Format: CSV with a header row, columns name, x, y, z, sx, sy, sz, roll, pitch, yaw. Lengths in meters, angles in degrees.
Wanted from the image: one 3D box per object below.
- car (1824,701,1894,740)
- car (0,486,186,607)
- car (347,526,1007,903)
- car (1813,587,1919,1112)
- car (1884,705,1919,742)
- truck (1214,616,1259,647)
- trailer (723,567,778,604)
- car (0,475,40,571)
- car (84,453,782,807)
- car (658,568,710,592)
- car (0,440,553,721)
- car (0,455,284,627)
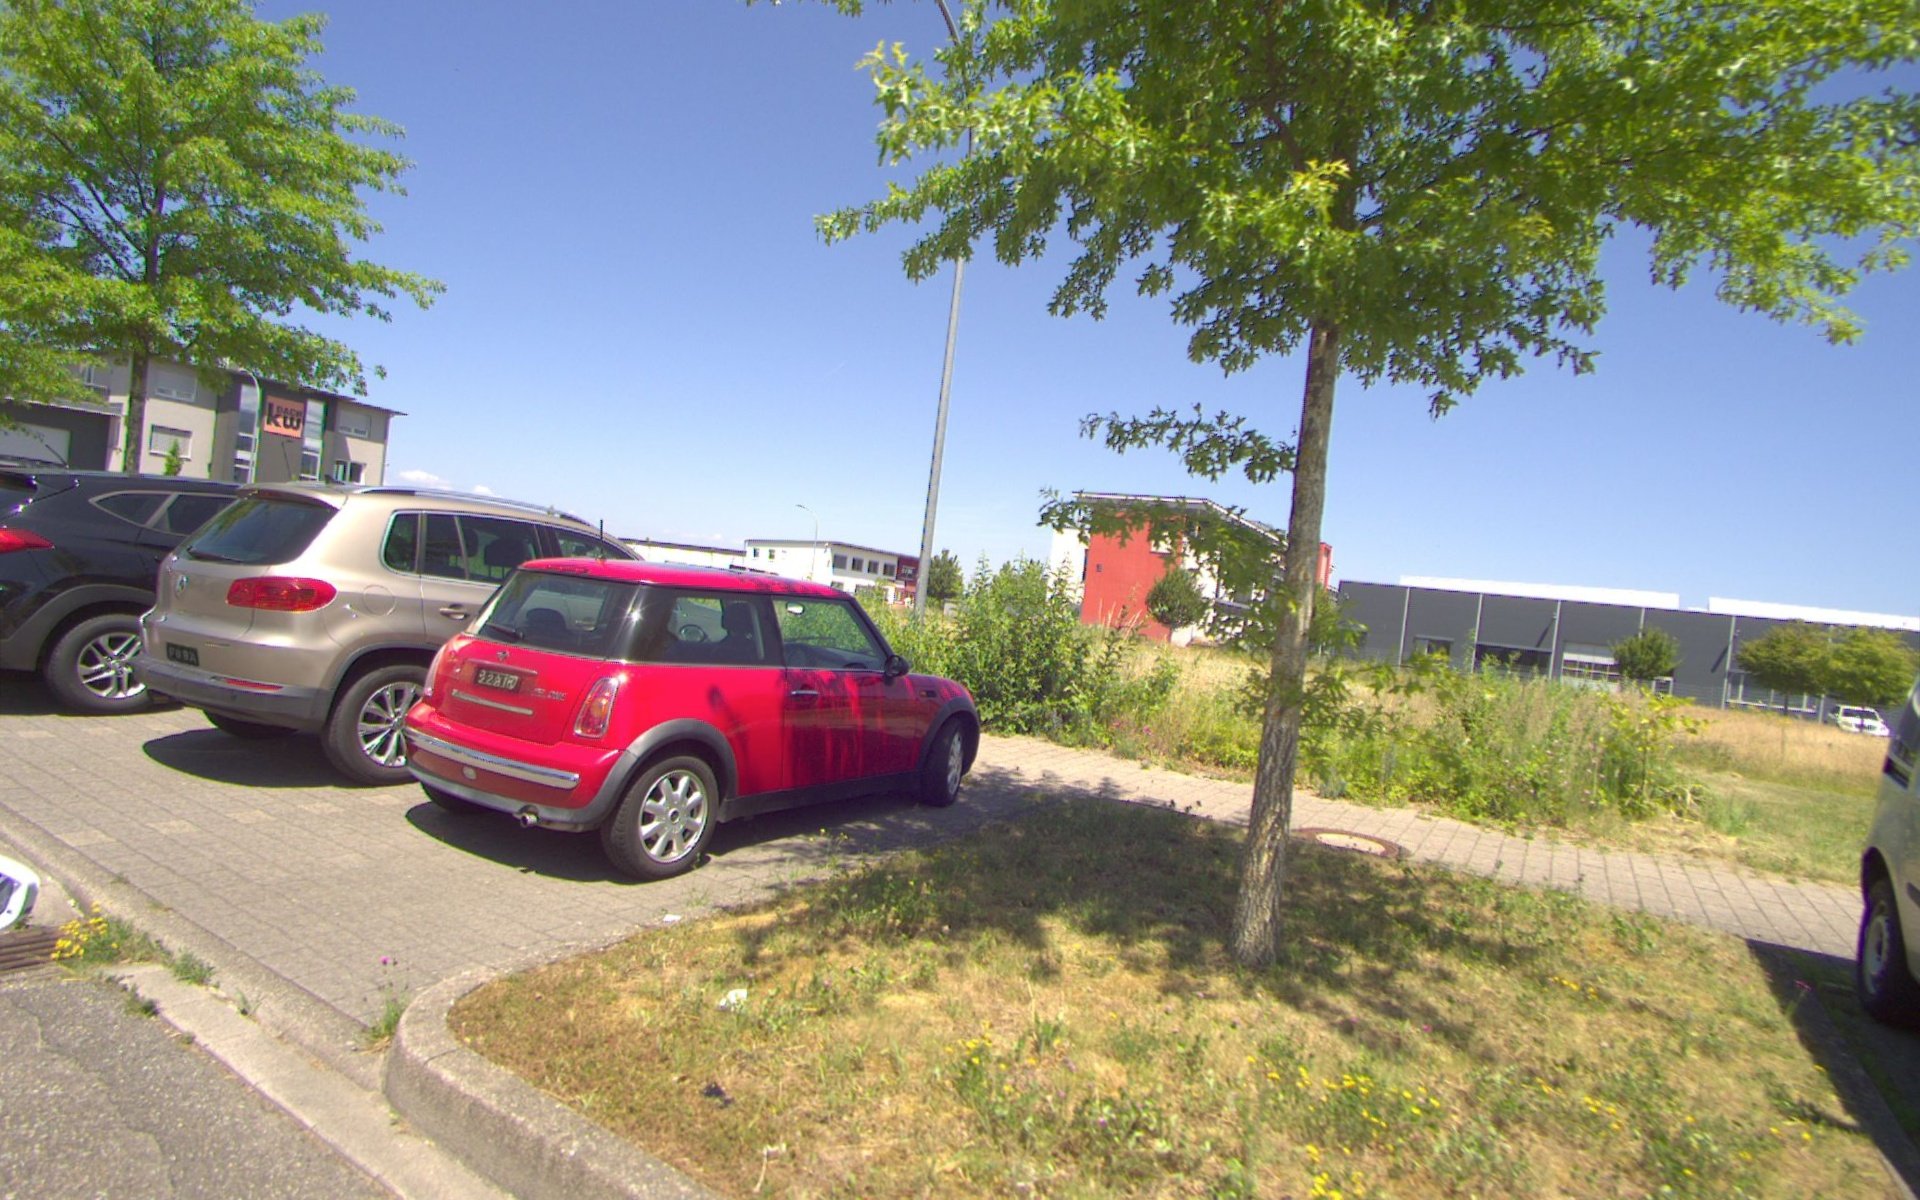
name,x,y,z,sx,sy,sz,roll,pitch,yaw
car,43.888,5.867,49.191,1.691,1.470,3.990,7,0,32
car,-12.919,-0.789,13.190,1.878,1.427,3.926,5,0,31
car,-1.360,0.507,6.002,1.725,1.435,3.459,7,1,31
car,4.022,0.908,2.785,1.766,1.854,4.404,7,1,33
car,45.821,5.943,47.978,1.691,1.529,3.990,7,0,32
truck,21.034,2.406,76.415,1.967,2.039,4.346,7,1,31
trailer,-17.751,-1.233,85.345,2.195,2.632,3.992,7,1,30
car,-18.306,-1.503,16.714,1.870,1.628,4.069,6,1,33
car,-3.277,0.164,7.015,1.753,1.700,3.877,7,1,32
car,-21.523,-1.544,78.651,1.650,1.401,3.633,9,1,32
car,-5.703,-0.126,8.124,1.752,1.718,4.176,7,1,31
car,-10.794,-0.723,11.636,1.959,1.791,4.453,7,1,30
